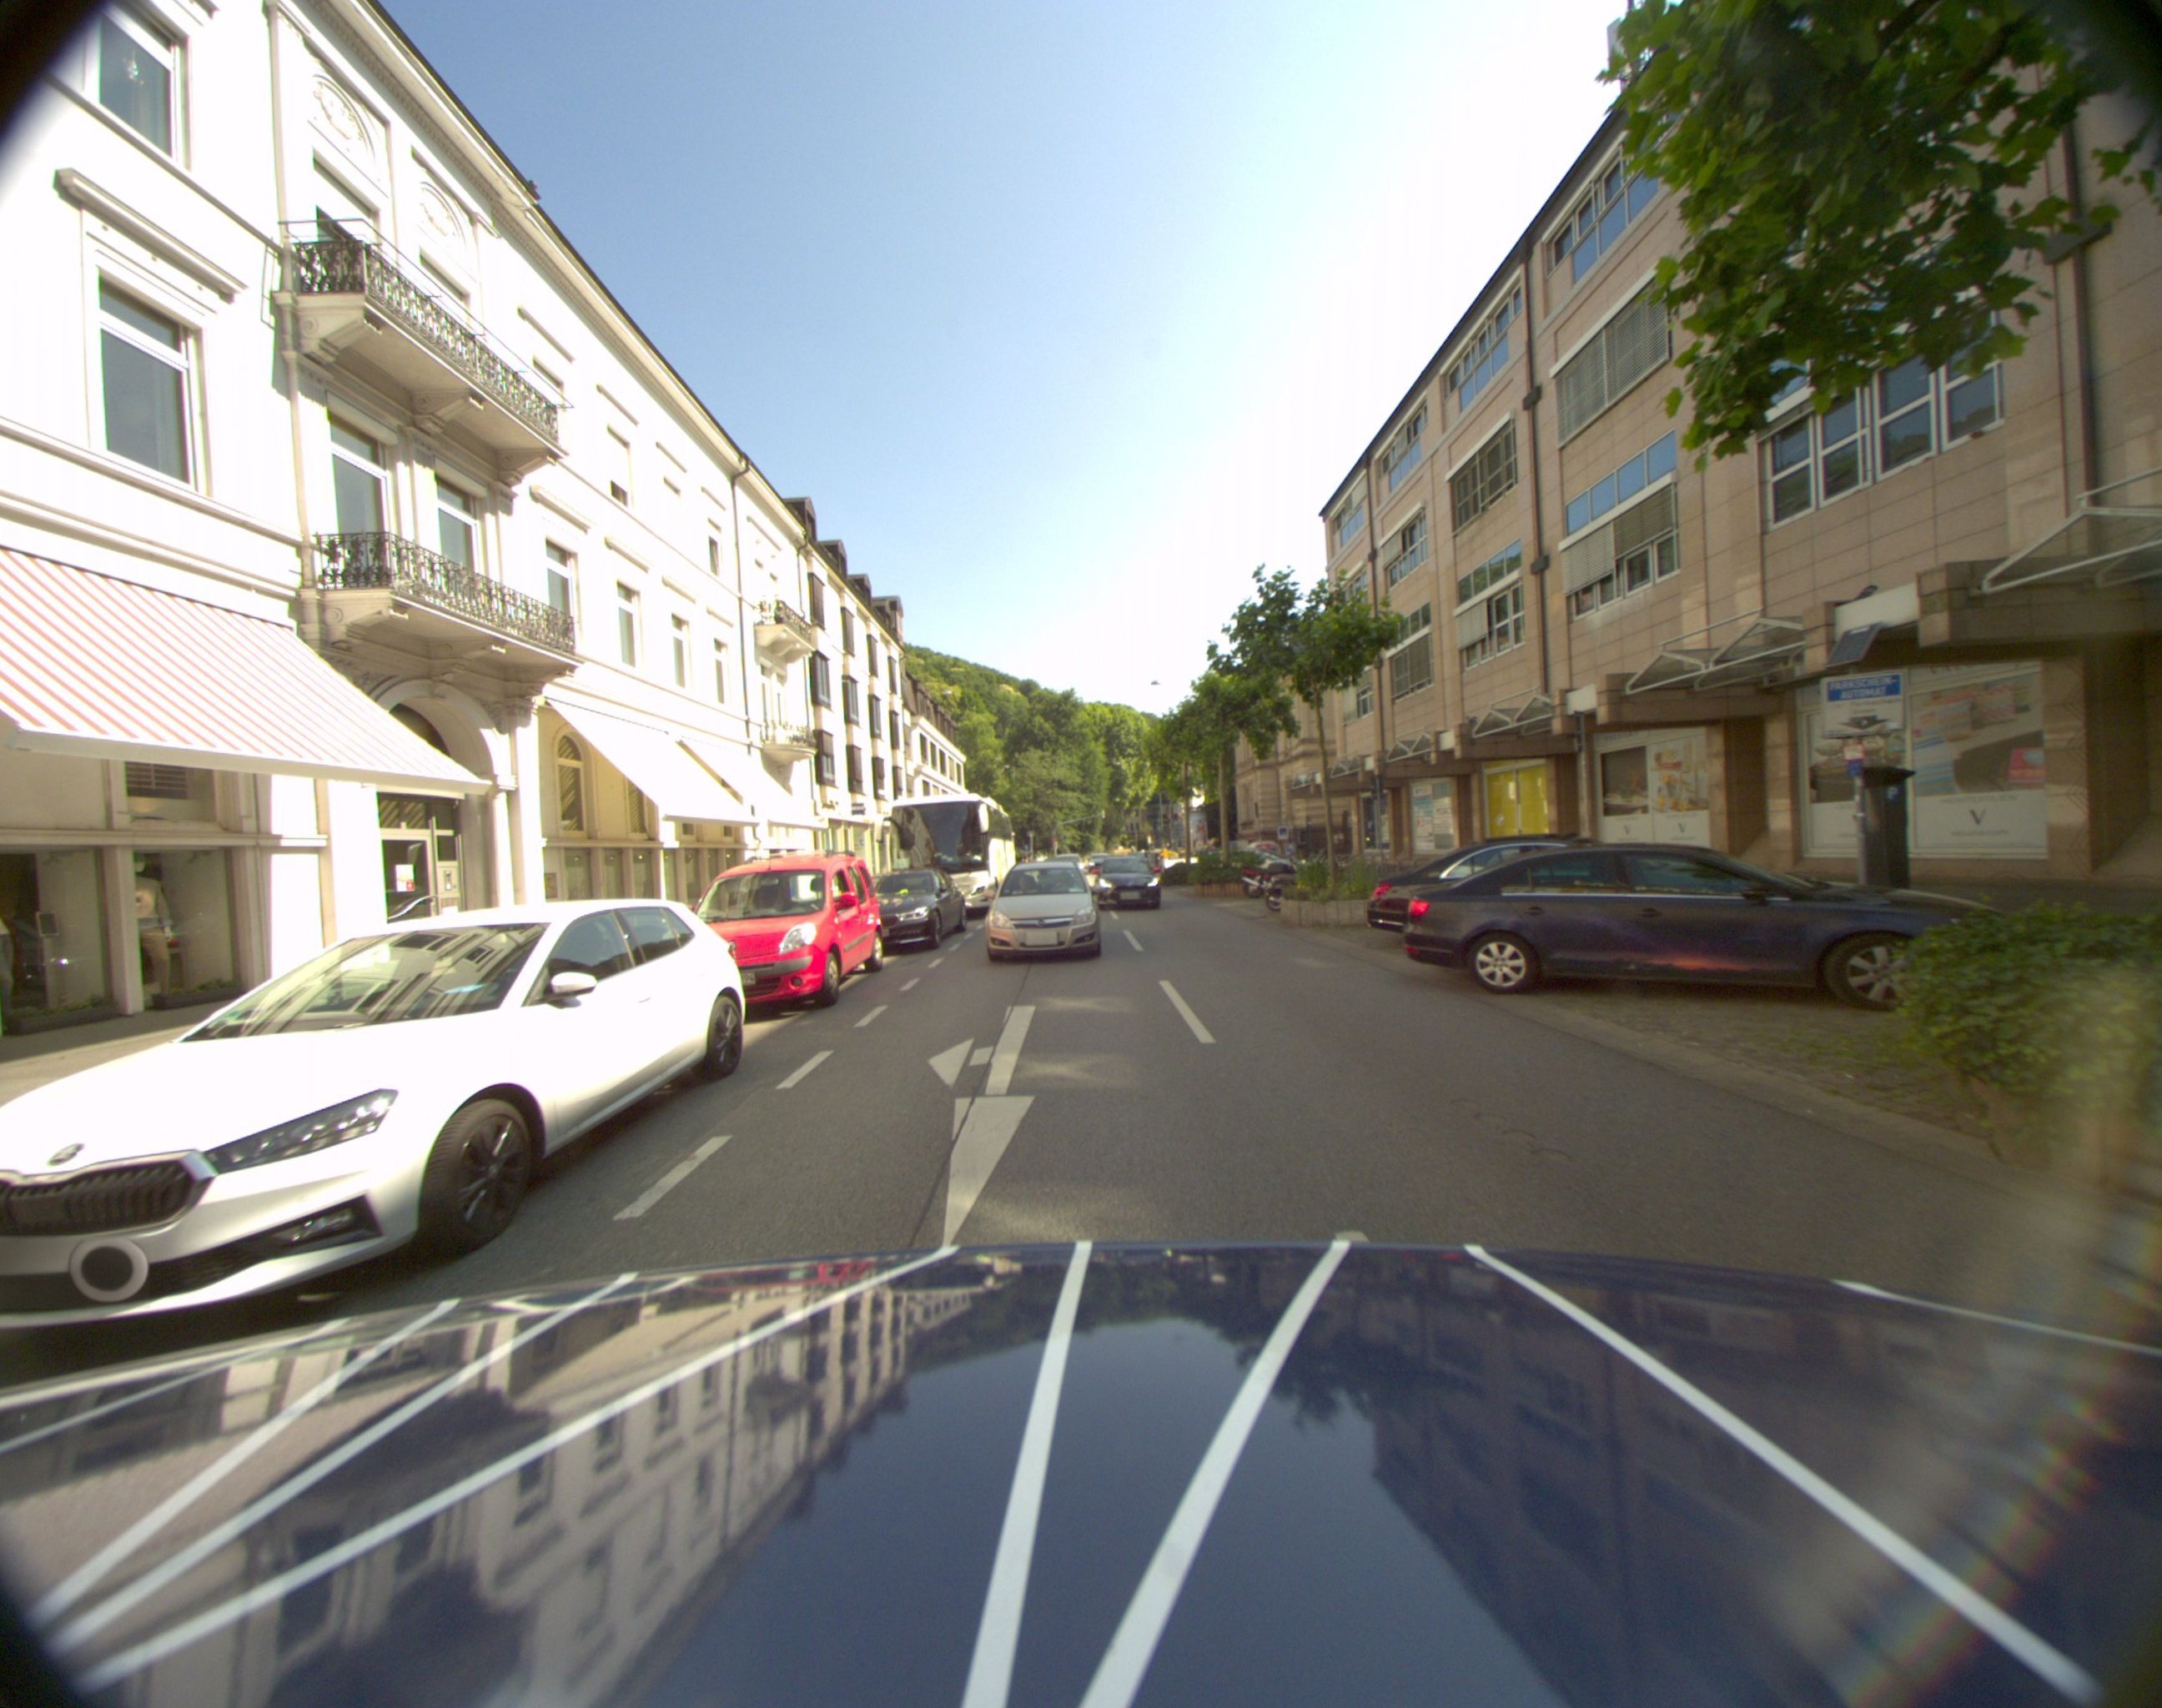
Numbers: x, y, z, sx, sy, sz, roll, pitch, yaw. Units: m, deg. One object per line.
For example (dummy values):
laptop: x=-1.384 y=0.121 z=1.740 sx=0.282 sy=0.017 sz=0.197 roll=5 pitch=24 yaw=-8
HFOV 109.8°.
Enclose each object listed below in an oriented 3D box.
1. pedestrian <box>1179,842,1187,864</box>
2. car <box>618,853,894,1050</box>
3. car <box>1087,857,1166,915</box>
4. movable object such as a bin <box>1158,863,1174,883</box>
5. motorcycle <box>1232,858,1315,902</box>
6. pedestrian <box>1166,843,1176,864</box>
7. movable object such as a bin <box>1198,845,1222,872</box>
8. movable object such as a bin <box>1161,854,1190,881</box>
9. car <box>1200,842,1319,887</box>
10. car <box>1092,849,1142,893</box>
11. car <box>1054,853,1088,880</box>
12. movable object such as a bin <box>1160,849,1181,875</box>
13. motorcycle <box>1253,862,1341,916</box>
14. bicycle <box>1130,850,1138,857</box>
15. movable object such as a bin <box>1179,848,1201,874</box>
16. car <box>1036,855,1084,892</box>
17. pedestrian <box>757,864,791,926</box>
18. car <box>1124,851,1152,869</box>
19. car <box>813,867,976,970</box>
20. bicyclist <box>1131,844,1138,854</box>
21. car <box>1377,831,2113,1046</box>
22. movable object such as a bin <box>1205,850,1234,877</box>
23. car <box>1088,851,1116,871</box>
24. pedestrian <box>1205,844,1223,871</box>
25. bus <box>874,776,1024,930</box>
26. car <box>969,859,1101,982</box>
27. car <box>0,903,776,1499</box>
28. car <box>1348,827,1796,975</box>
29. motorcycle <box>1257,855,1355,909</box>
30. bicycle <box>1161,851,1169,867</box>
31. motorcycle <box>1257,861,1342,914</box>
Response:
pedestrian: x=8.072 y=-0.099 z=60.247 sx=0.550 sy=1.656 sz=0.937 roll=-3 pitch=2 yaw=8
car: x=-3.846 y=1.001 z=9.934 sx=1.832 sy=1.852 sz=4.352 roll=-5 pitch=0 yaw=-4
car: x=1.220 y=0.859 z=22.123 sx=1.811 sy=1.443 sz=3.952 roll=-1 pitch=1 yaw=-3
movable object such as a bin: x=4.139 y=0.912 z=37.045 sx=0.556 sy=0.934 sz=0.499 roll=-2 pitch=0 yaw=-26
motorcycle: x=5.763 y=0.790 z=22.765 sx=2.174 sy=1.163 sz=0.922 roll=-4 pitch=0 yaw=28
pedestrian: x=7.177 y=-0.035 z=60.813 sx=0.696 sy=1.686 sz=0.690 roll=-3 pitch=2 yaw=2
movable object such as a bin: x=7.606 y=0.274 z=44.961 sx=1.211 sy=1.442 sz=1.364 roll=-5 pitch=0 yaw=5
movable object such as a bin: x=4.792 y=0.671 z=38.575 sx=1.280 sy=1.292 sz=0.853 roll=-4 pitch=1 yaw=0
car: x=6.984 y=0.443 z=29.934 sx=4.047 sy=1.486 sz=1.939 roll=-4 pitch=0 yaw=41
car: x=1.468 y=0.679 z=32.279 sx=1.890 sy=1.674 sz=4.141 roll=-3 pitch=0 yaw=0
car: x=-0.597 y=0.707 z=46.255 sx=1.941 sy=1.421 sz=4.341 roll=-3 pitch=1 yaw=0
movable object such as a bin: x=5.336 y=0.479 z=45.295 sx=1.126 sy=1.442 sz=1.439 roll=-5 pitch=0 yaw=5
motorcycle: x=5.171 y=0.831 z=18.204 sx=1.912 sy=1.163 sz=0.761 roll=-4 pitch=0 yaw=20
bicycle: x=8.939 y=-0.027 z=128.503 sx=0.782 sy=1.114 sz=1.680 roll=-1 pitch=0 yaw=23
movable object such as a bin: x=6.462 y=0.424 z=45.193 sx=1.126 sy=1.442 sz=1.439 roll=-5 pitch=0 yaw=5
car: x=-1.031 y=0.825 z=34.539 sx=1.849 sy=1.421 sz=4.209 roll=-3 pitch=1 yaw=-5
pedestrian: x=-8.828 y=1.155 z=21.871 sx=0.568 sy=1.721 sz=0.769 roll=-2 pitch=1 yaw=0
car: x=4.580 y=0.442 z=61.386 sx=1.941 sy=1.346 sz=4.249 roll=-3 pitch=0 yaw=1
car: x=-3.521 y=1.143 z=15.477 sx=1.864 sy=1.461 sz=5.225 roll=-5 pitch=0 yaw=1
bicyclist: x=9.014 y=-0.902 z=128.619 sx=0.866 sy=1.566 sz=0.944 roll=-2 pitch=3 yaw=23
car: x=5.674 y=0.703 z=7.375 sx=4.785 sy=1.414 sz=1.886 roll=-5 pitch=0 yaw=40
movable object such as a bin: x=7.059 y=0.478 z=38.756 sx=1.212 sy=1.292 sz=1.080 roll=-5 pitch=0 yaw=0
car: x=1.600 y=0.511 z=59.333 sx=1.941 sy=1.420 sz=4.549 roll=-3 pitch=0 yaw=0
pedestrian: x=8.731 y=0.248 z=49.804 sx=0.891 sy=1.715 sz=0.748 roll=-4 pitch=1 yaw=-7
bus: x=-3.883 y=-0.063 z=25.835 sx=2.889 sy=3.720 sz=12.423 roll=-5 pitch=1 yaw=-1
car: x=-0.570 y=0.921 z=12.583 sx=1.711 sy=1.513 sz=4.406 roll=-4 pitch=0 yaw=2
car: x=-3.592 y=1.206 z=4.480 sx=1.818 sy=1.457 sz=4.579 roll=-5 pitch=-1 yaw=-3
car: x=6.414 y=0.595 z=10.355 sx=4.745 sy=1.524 sz=1.994 roll=-4 pitch=0 yaw=42
motorcycle: x=6.037 y=0.753 z=20.355 sx=2.348 sy=1.260 sz=1.295 roll=-4 pitch=0 yaw=20
bicycle: x=6.692 y=0.387 z=60.471 sx=0.430 sy=1.114 sz=2.244 roll=-5 pitch=2 yaw=11
motorcycle: x=5.430 y=0.834 z=18.910 sx=1.912 sy=1.163 sz=0.729 roll=-4 pitch=0 yaw=20
